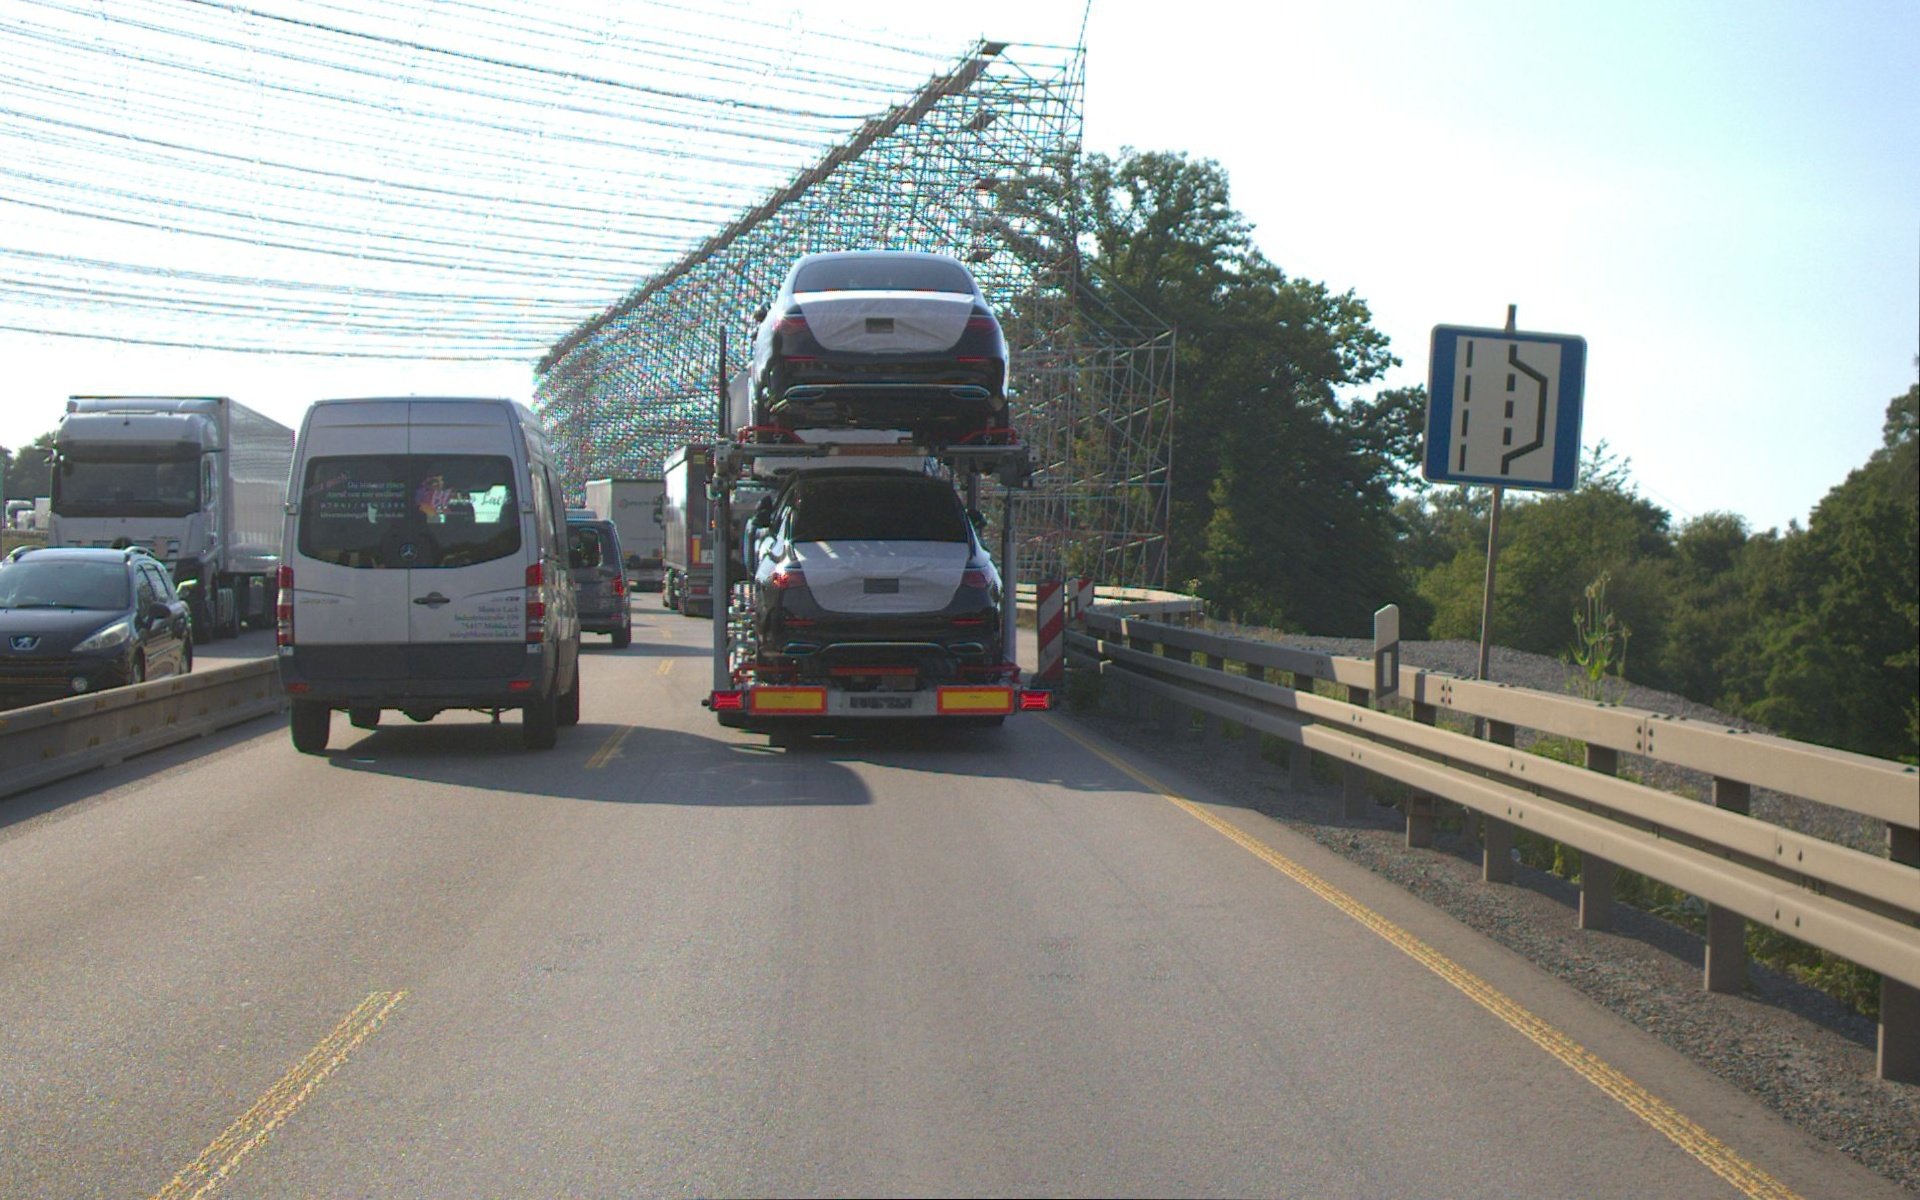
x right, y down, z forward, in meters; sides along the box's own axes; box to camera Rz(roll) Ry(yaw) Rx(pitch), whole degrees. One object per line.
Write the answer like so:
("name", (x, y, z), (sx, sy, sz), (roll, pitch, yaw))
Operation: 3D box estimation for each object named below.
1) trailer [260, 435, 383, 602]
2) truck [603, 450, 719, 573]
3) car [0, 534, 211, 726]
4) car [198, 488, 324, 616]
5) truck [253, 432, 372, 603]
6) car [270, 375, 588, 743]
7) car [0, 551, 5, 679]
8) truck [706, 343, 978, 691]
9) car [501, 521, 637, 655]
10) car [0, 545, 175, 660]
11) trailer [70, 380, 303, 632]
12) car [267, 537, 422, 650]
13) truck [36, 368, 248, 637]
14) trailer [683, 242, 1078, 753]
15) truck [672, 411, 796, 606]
("trailer", (-17.694, -2.188, 95.961), (2.765, 4.319, 13.884), (0, 1, -8))
("truck", (-11.366, -3.329, 129.378), (3.686, 4.206, 13.672), (-3, 2, -7))
("car", (-8.017, 0.215, 31.029), (1.782, 1.516, 4.001), (2, 2, -3))
("car", (-15.442, -1.130, 76.311), (2.021, 2.680, 6.951), (1, 2, -6))
("truck", (-16.747, -2.109, 89.192), (2.744, 4.285, 5.935), (0, 1, -8))
("car", (-4.014, -0.310, 26.607), (1.956, 2.612, 4.000), (-1, 0, -2))
("car", (-11.369, 0.178, 35.917), (1.748, 1.417, 4.610), (1, 1, -4))
("truck", (-1.428, -0.929, 40.229), (2.881, 3.690, 7.326), (0, 1, -3))
("car", (-6.162, -0.197, 53.879), (1.993, 2.007, 4.001), (1, 0, -8))
("car", (-11.730, -0.002, 45.886), (1.743, 1.455, 4.714), (0, 1, -4))
("trailer", (-14.222, -1.654, 64.238), (2.720, 4.203, 13.752), (0, 1, -6))
("car", (-9.652, -0.138, 54.210), (1.817, 1.573, 4.756), (-2, 2, -3))
("truck", (-13.394, -1.554, 56.645), (2.712, 4.203, 5.684), (0, 1, -6))
("trailer", (-1.006, -0.835, 32.477), (2.868, 3.712, 14.949), (0, 1, -3))
("truck", (-5.607, -2.194, 83.883), (2.731, 4.370, 11.523), (1, 1, -5))
